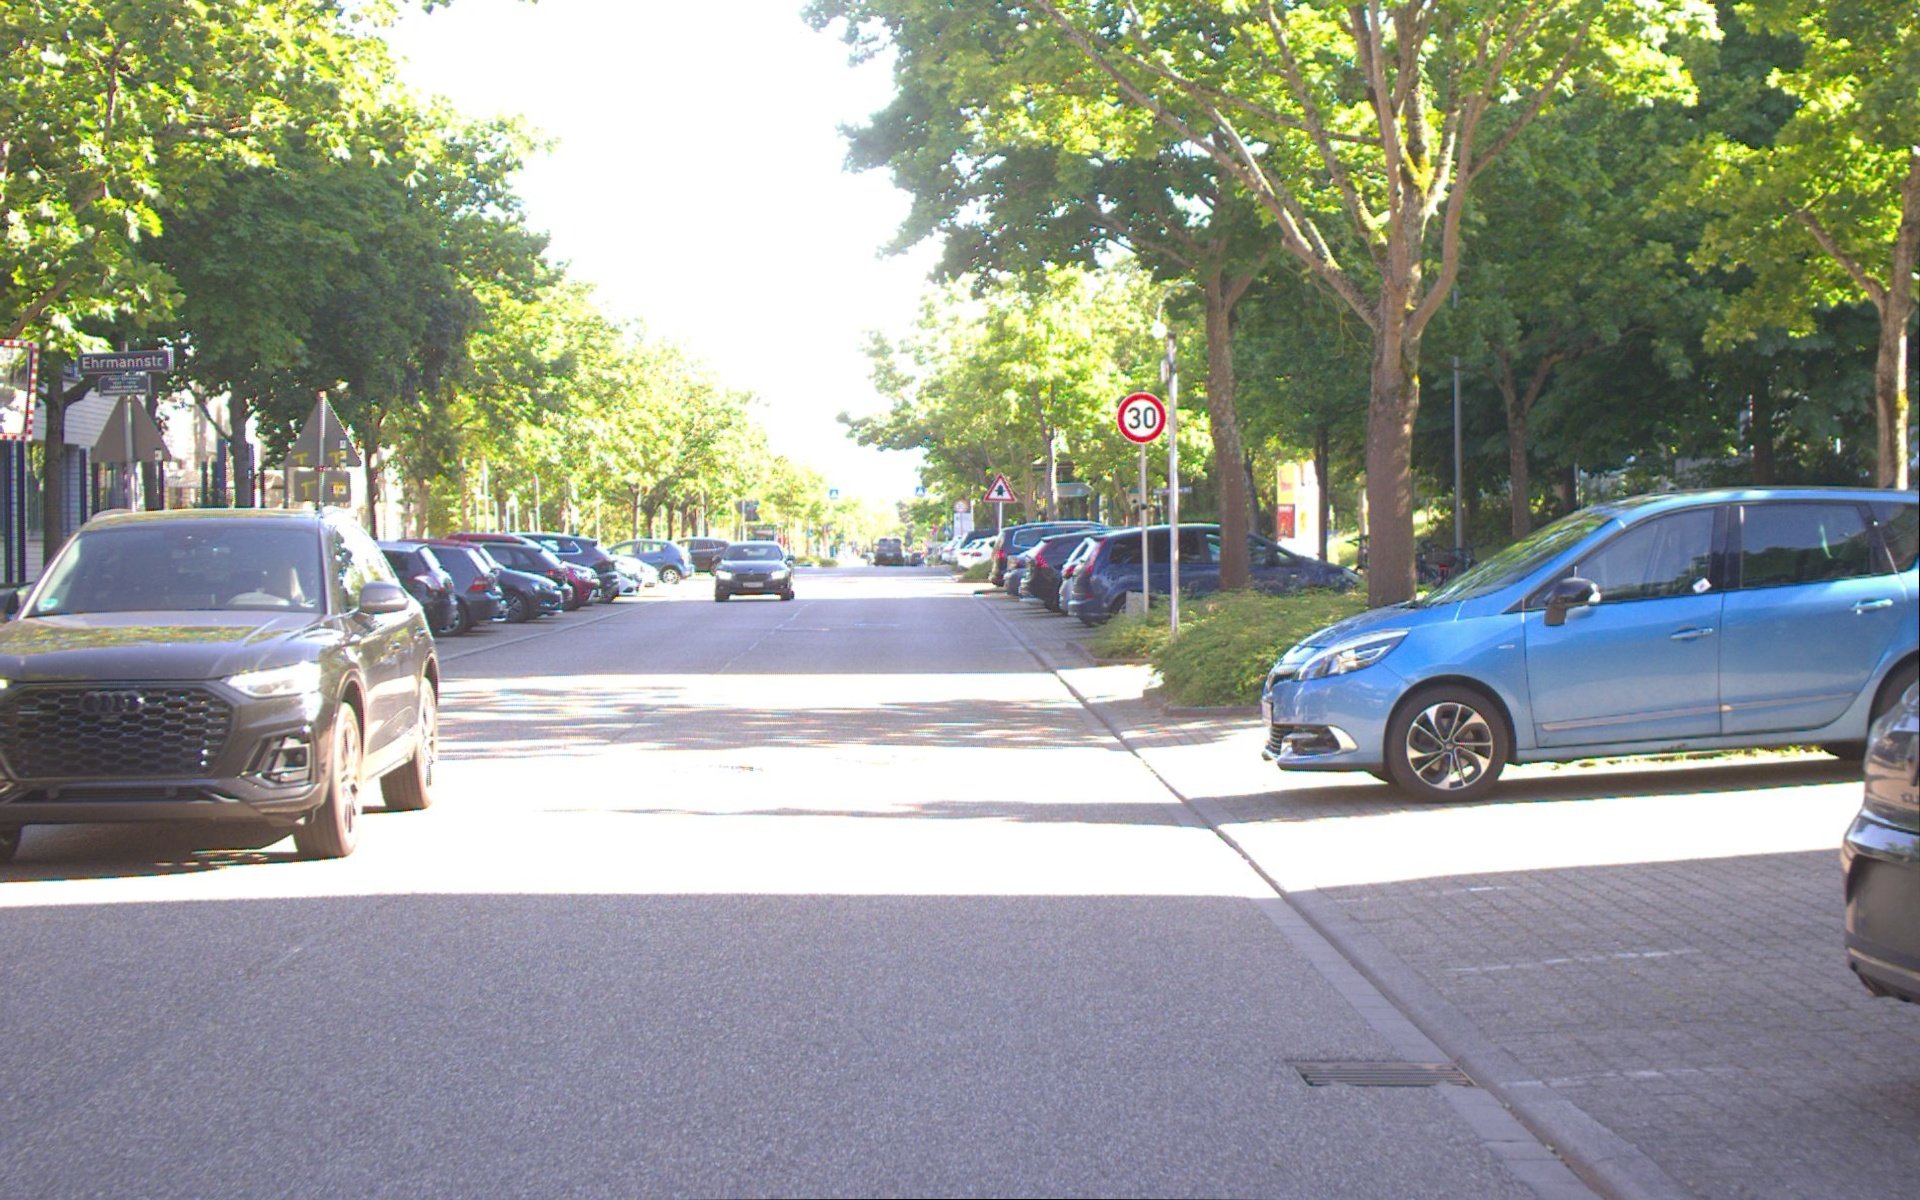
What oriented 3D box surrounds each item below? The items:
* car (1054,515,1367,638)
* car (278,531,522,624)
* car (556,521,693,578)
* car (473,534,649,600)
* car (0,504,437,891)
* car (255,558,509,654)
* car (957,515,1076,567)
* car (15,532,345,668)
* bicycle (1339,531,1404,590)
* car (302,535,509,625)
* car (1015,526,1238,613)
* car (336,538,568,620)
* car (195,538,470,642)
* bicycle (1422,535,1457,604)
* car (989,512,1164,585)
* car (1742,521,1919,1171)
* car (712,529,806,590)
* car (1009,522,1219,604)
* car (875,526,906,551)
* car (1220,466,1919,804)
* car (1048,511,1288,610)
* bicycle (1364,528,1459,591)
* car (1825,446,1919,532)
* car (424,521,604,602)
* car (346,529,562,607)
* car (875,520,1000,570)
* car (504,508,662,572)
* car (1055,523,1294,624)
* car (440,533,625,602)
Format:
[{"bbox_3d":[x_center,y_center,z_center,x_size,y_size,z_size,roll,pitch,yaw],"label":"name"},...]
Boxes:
[{"bbox_3d":[3.586,-0.349,49.696,4.267,1.628,1.858,-2,1,-3],"label":"car"},{"bbox_3d":[-9.329,-0.383,57.511,3.865,1.452,1.755,1,2,-4],"label":"car"},{"bbox_3d":[-10.402,-1.582,106.751,3.987,1.648,1.860,-1,1,2],"label":"car"},{"bbox_3d":[-9.225,-0.775,79.720,3.892,1.459,1.858,-1,1,-2],"label":"car"},{"bbox_3d":[-3.827,0.387,17.329,1.891,1.678,4.353,-1,1,-3],"label":"car"},{"bbox_3d":[-9.196,0.082,54.855,3.762,1.440,1.631,1,1,0],"label":"car"},{"bbox_3d":[1.970,-2.086,121.233,3.986,1.786,2.000,-1,1,-6],"label":"car"},{"bbox_3d":[-9.157,0.016,40.555,3.580,1.544,1.637,0,-1,-3],"label":"car"},{"bbox_3d":[7.581,-0.734,63.395,0.379,1.074,1.788,-1,1,-22],"label":"bicycle"},{"bbox_3d":[-9.574,-0.358,59.521,3.418,1.458,1.697,1,2,-6],"label":"car"},{"bbox_3d":[3.191,-0.597,66.139,4.043,1.585,1.550,-1,1,-8],"label":"car"},{"bbox_3d":[-9.188,-0.389,62.398,3.986,1.408,1.666,1,1,-2],"label":"car"},{"bbox_3d":[-9.125,-0.162,50.194,3.732,1.459,1.677,-1,1,-2],"label":"car"},{"bbox_3d":[7.536,-0.485,54.055,0.379,1.043,1.884,-2,1,4],"label":"bicycle"},{"bbox_3d":[2.692,-1.200,80.209,3.892,1.650,1.858,-1,1,-4],"label":"car"},{"bbox_3d":[4.114,0.476,8.528,3.846,1.478,1.825,-3,2,-1],"label":"car"},{"bbox_3d":[-4.762,-0.984,82.020,1.813,1.410,4.107,0,1,3],"label":"car"},{"bbox_3d":[3.064,-0.749,68.873,4.043,1.486,1.550,-2,1,-2],"label":"car"},{"bbox_3d":[-4.502,-3.989,222.690,1.933,1.592,4.367,-1,1,-1],"label":"car"},{"bbox_3d":[3.819,0.146,19.637,4.405,1.612,1.912,-3,1,-1],"label":"car"},{"bbox_3d":[3.815,-0.732,62.952,4.249,1.549,1.920,-3,1,4],"label":"car"},{"bbox_3d":[7.789,-0.705,59.391,0.379,1.074,1.786,-2,2,-42],"label":"bicycle"},{"bbox_3d":[20.771,-2.331,73.236,4.071,1.777,2.000,1,1,-5],"label":"car"},{"bbox_3d":[-9.394,-0.802,72.532,3.541,1.651,1.761,-1,0,1],"label":"car"},{"bbox_3d":[-9.579,-0.607,65.122,3.986,1.401,1.606,1,1,-9],"label":"car"},{"bbox_3d":[-0.753,-1.837,114.622,3.986,1.619,2.000,-1,1,-6],"label":"car"},{"bbox_3d":[-9.633,-1.539,88.004,3.892,1.606,1.858,-1,1,-2],"label":"car"},{"bbox_3d":[3.412,-0.436,55.110,3.635,1.462,1.633,-2,1,-2],"label":"car"},{"bbox_3d":[-9.480,-0.731,76.434,3.892,1.459,1.858,-1,1,-2],"label":"car"}]
